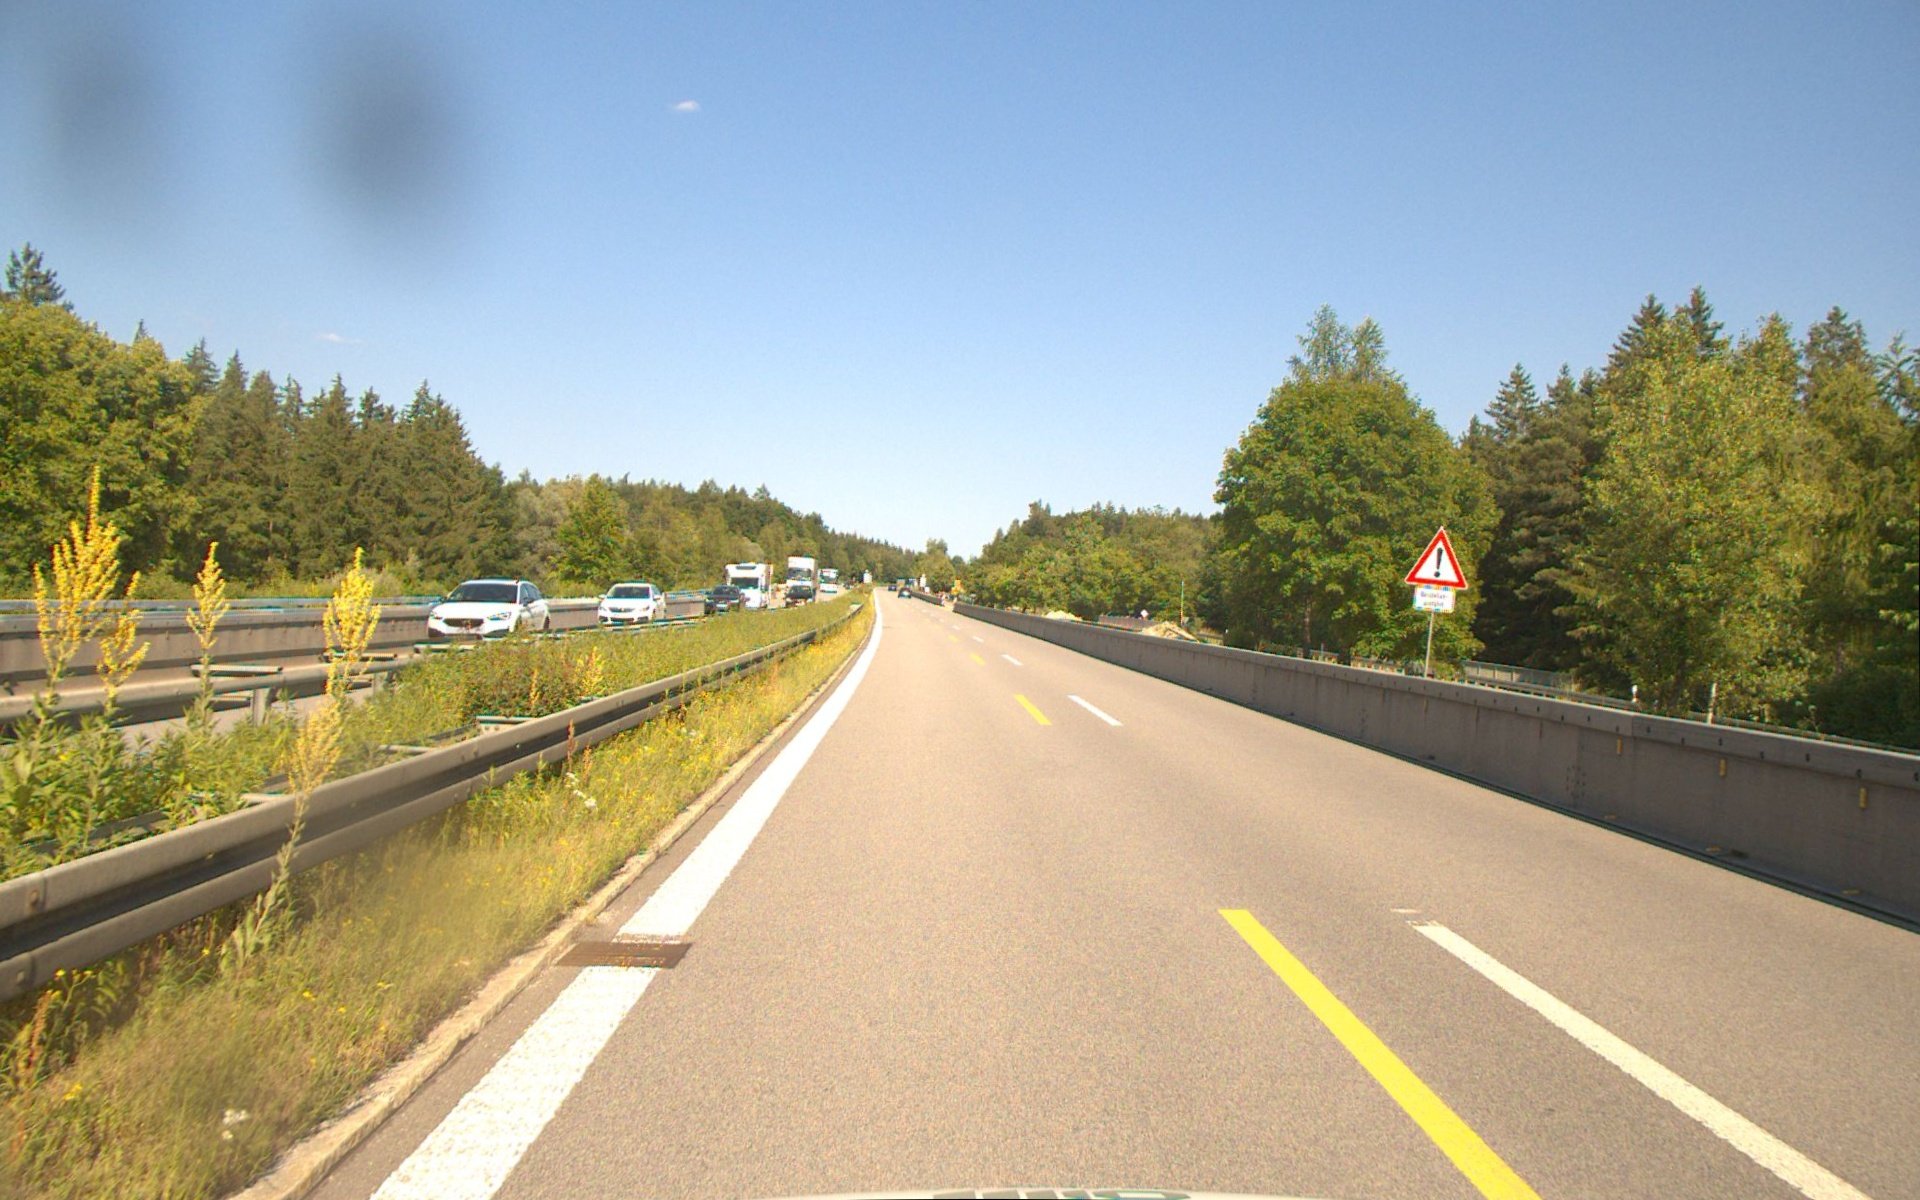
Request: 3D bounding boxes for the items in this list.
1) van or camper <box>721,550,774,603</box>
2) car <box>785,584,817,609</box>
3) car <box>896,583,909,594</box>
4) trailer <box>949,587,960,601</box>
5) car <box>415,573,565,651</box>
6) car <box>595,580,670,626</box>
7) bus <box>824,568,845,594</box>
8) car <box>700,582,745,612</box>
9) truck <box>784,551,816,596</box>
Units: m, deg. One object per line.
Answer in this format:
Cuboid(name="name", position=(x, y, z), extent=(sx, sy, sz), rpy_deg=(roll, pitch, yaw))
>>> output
Cuboid(name="van or camper", position=(-12.676, -1.376, 99.210), extent=(2.357, 3.002, 7.520), rpy_deg=(2, 0, -2))
Cuboid(name="car", position=(-10.072, -0.258, 104.981), extent=(1.706, 1.557, 3.999), rpy_deg=(0, 0, -2))
Cuboid(name="car", position=(-7.941, -1.583, 228.013), extent=(1.709, 1.491, 4.291), rpy_deg=(3, 0, -3))
Cuboid(name="trailer", position=(-0.792, -0.807, 223.246), extent=(1.103, 1.906, 3.996), rpy_deg=(3, 0, -5))
Cuboid(name="car", position=(-9.770, 0.225, 34.778), extent=(1.845, 1.457, 4.981), rpy_deg=(2, 0, -2))
Cuboid(name="car", position=(-10.677, 0.070, 54.213), extent=(1.667, 1.457, 4.953), rpy_deg=(0, 0, -2))
Cuboid(name="bus", position=(-19.667, -2.990, 259.632), extent=(2.825, 3.734, 12.908), rpy_deg=(3, 0, -4))
Cuboid(name="car", position=(-12.235, -0.185, 85.469), extent=(1.706, 1.457, 5.233), rpy_deg=(-1, 1, -2))
Cuboid(name="truck", position=(-15.382, -2.535, 159.349), extent=(2.715, 4.159, 5.472), rpy_deg=(1, 0, -3))
